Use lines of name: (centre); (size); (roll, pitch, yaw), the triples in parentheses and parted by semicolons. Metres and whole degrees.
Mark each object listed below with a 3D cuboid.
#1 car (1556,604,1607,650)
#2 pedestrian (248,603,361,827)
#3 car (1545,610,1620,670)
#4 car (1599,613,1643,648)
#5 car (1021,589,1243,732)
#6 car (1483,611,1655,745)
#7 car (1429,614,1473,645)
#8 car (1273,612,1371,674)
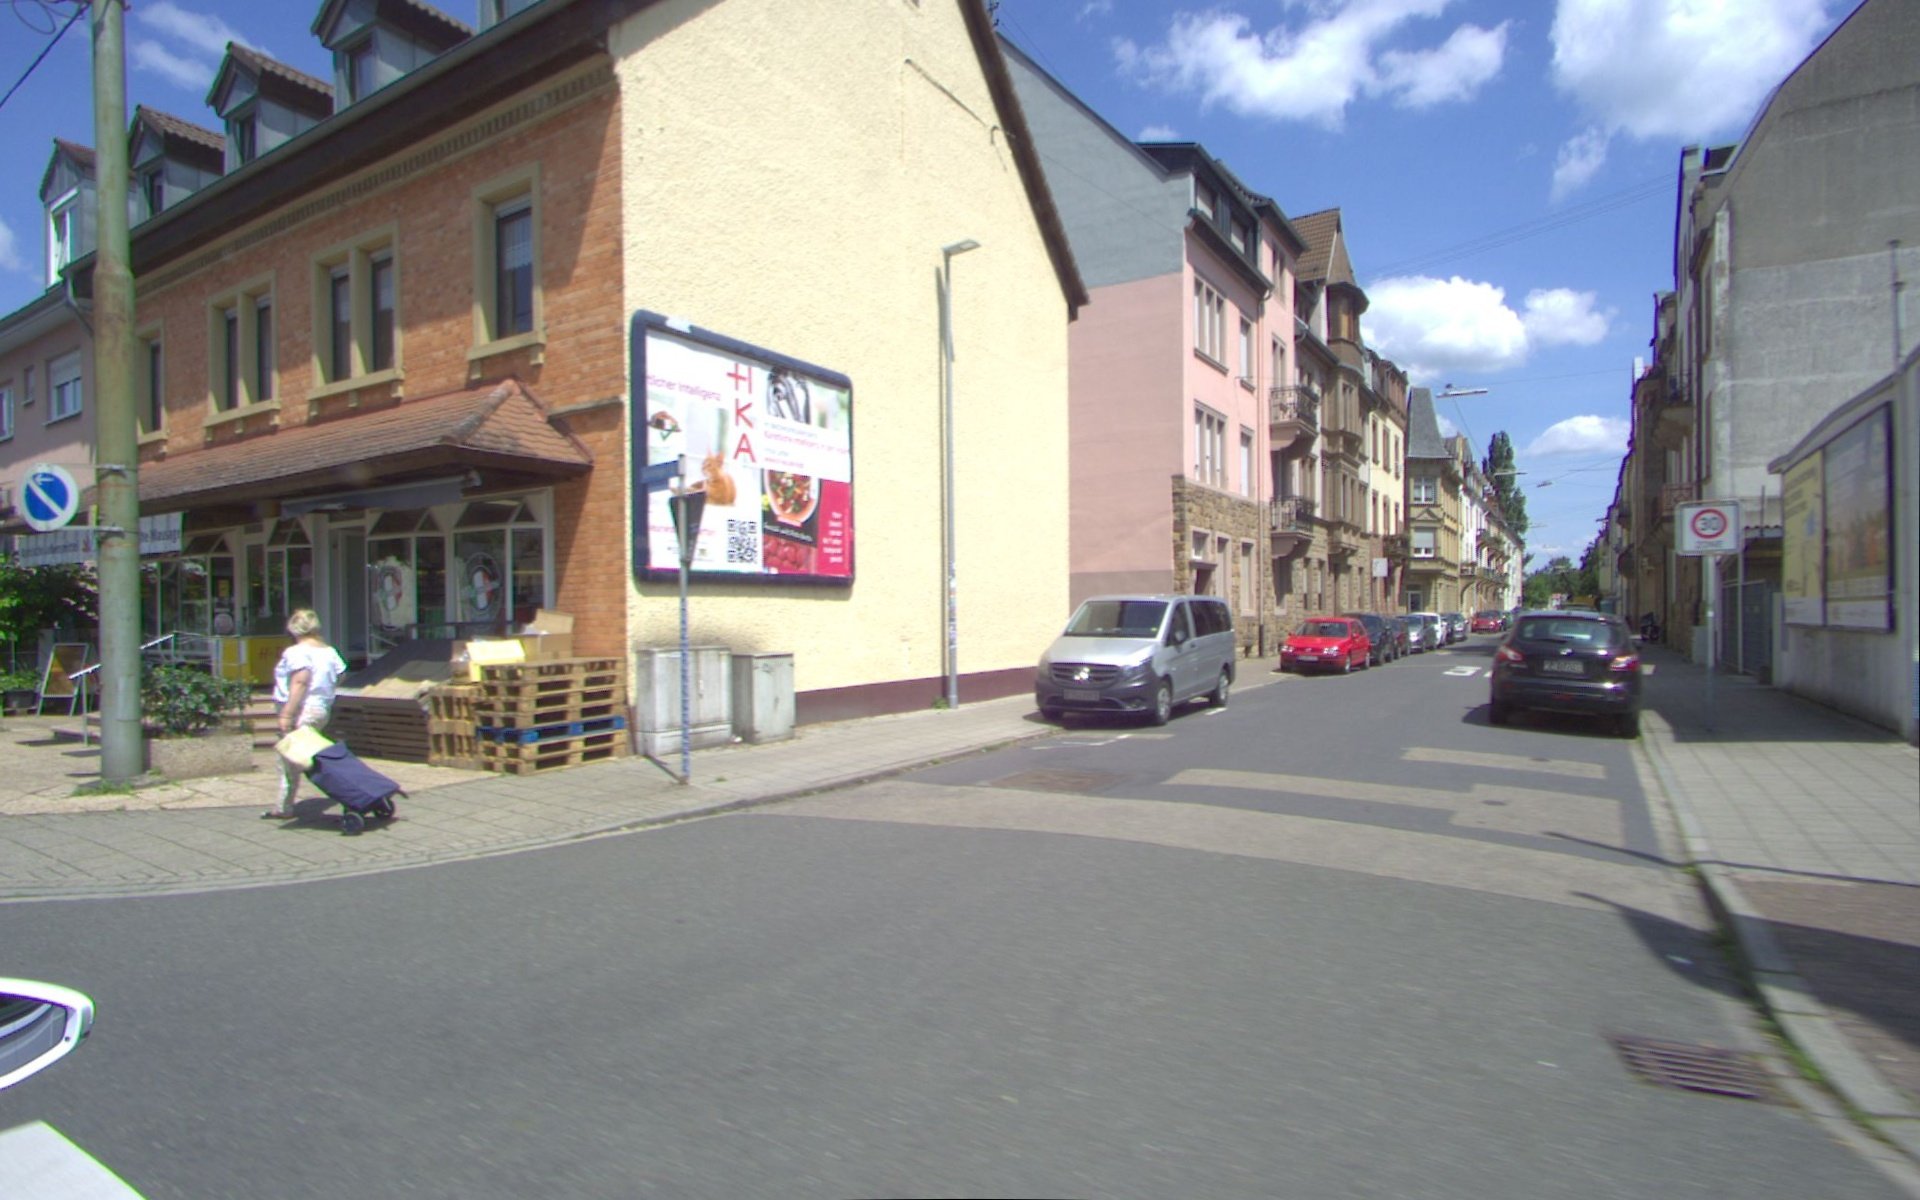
car: (25.024, 1.119, 40.275); (1.628, 1.723, 3.981); (-2, -4, 32)
pedestrian: (-5.193, 0.860, 7.931); (0.698, 1.664, 0.655); (-1, 2, -37)
car: (17.329, 1.149, 27.858); (1.628, 1.526, 3.981); (-2, -4, 32)
car: (31.535, 1.495, 47.849); (1.628, 1.526, 3.981); (-2, -4, 32)
car: (2.924, 0.854, 15.892); (1.880, 1.885, 5.048); (-2, -1, 29)
car: (8.868, 0.982, 14.457); (1.817, 1.564, 3.865); (3, 2, 35)
car: (25.686, 1.579, 52.327); (1.628, 1.526, 3.981); (-2, -4, 32)
car: (9.797, 1.180, 26.927); (1.628, 1.526, 3.981); (-2, -4, 32)
